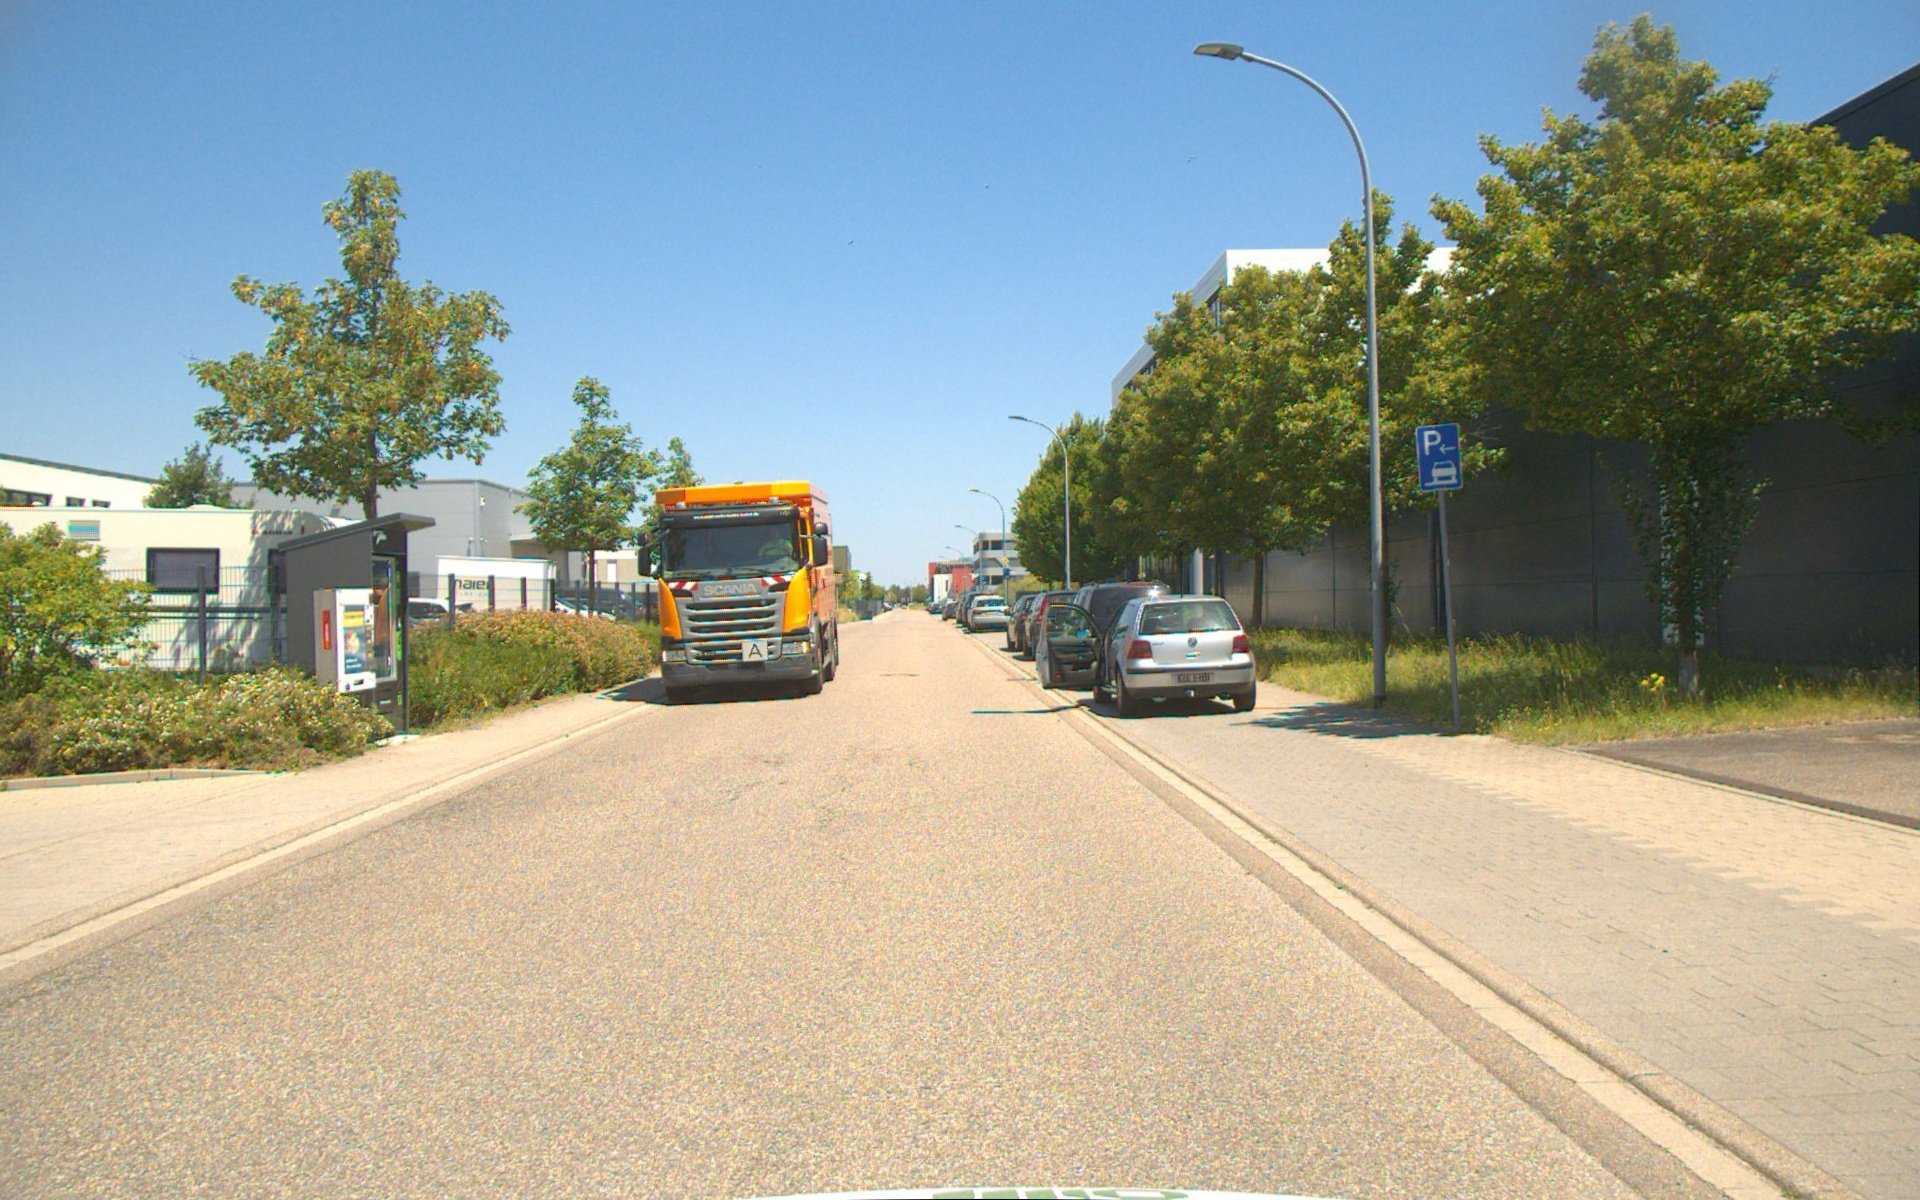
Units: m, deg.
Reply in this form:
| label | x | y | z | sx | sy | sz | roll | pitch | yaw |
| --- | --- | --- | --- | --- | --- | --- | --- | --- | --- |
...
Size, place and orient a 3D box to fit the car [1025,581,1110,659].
| label | x | y | z | sx | sy | sz | roll | pitch | yaw |
| --- | --- | --- | --- | --- | --- | --- | --- | --- | --- |
| car | 2.504 | 0.452 | 39.341 | 1.687 | 1.724 | 3.983 | -1 | 0 | -1 |

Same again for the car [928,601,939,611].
| label | x | y | z | sx | sy | sz | roll | pitch | yaw |
| --- | --- | --- | --- | --- | --- | --- | --- | --- | --- |
| car | -3.941 | 0.887 | 243.916 | 1.465 | 1.434 | 3.499 | -1 | 0 | -2 |

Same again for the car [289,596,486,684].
| label | x | y | z | sx | sy | sz | roll | pitch | yaw |
| --- | --- | --- | --- | --- | --- | --- | --- | --- | --- |
| car | -11.490 | 0.789 | 33.314 | 3.419 | 1.639 | 1.499 | -1 | 0 | -2 |

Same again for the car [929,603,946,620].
| label | x | y | z | sx | sy | sz | roll | pitch | yaw |
| --- | --- | --- | --- | --- | --- | --- | --- | --- | --- |
| car | -2.042 | 0.995 | 148.232 | 1.465 | 1.434 | 3.499 | -1 | 0 | -2 |

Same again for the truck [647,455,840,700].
| label | x | y | z | sx | sy | sz | roll | pitch | yaw |
| --- | --- | --- | --- | --- | --- | --- | --- | --- | --- |
| truck | -3.548 | -0.366 | 28.982 | 2.399 | 3.574 | 8.269 | -2 | 0 | -2 |

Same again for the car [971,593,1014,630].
| label | x | y | z | sx | sy | sz | roll | pitch | yaw |
| --- | --- | --- | --- | --- | --- | --- | --- | --- | --- |
| car | 1.315 | 0.455 | 68.439 | 1.553 | 1.434 | 3.499 | -1 | 0 | -2 |

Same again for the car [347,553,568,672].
| label | x | y | z | sx | sy | sz | roll | pitch | yaw |
| --- | --- | --- | --- | --- | --- | --- | --- | --- | --- |
| car | -11.837 | 0.281 | 39.200 | 4.624 | 2.631 | 1.998 | -2 | 0 | -6 |

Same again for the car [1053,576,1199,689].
| label | x | y | z | sx | sy | sz | roll | pitch | yaw |
| --- | --- | --- | --- | --- | --- | --- | --- | --- | --- |
| car | 2.687 | 0.500 | 27.584 | 1.645 | 1.716 | 3.995 | -1 | 0 | -6 |

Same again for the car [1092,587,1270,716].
| label | x | y | z | sx | sy | sz | roll | pitch | yaw |
| --- | --- | --- | --- | --- | --- | --- | --- | --- | --- |
| car | 2.778 | 0.612 | 21.499 | 1.683 | 1.475 | 3.645 | -2 | 0 | -2 |

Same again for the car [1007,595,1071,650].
| label | x | y | z | sx | sy | sz | roll | pitch | yaw |
| --- | --- | --- | --- | --- | --- | --- | --- | --- | --- |
| car | 2.148 | 0.589 | 45.662 | 1.465 | 1.434 | 3.499 | -1 | 0 | -2 |

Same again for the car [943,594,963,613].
| label | x | y | z | sx | sy | sz | roll | pitch | yaw |
| --- | --- | --- | --- | --- | --- | --- | --- | --- | --- |
| car | -0.593 | 0.274 | 132.749 | 1.465 | 1.434 | 3.499 | -1 | 0 | -2 |

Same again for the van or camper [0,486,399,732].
| label | x | y | z | sx | sy | sz | roll | pitch | yaw |
| --- | --- | --- | --- | --- | --- | --- | --- | --- | --- |
| van or camper | -11.887 | 0.149 | 22.892 | 7.237 | 3.090 | 2.789 | -1 | 0 | -3 |

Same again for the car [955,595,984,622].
| label | x | y | z | sx | sy | sz | roll | pitch | yaw |
| --- | --- | --- | --- | --- | --- | --- | --- | --- | --- |
| car | 0.518 | 0.441 | 91.631 | 1.465 | 1.434 | 3.499 | -1 | 0 | -2 |
